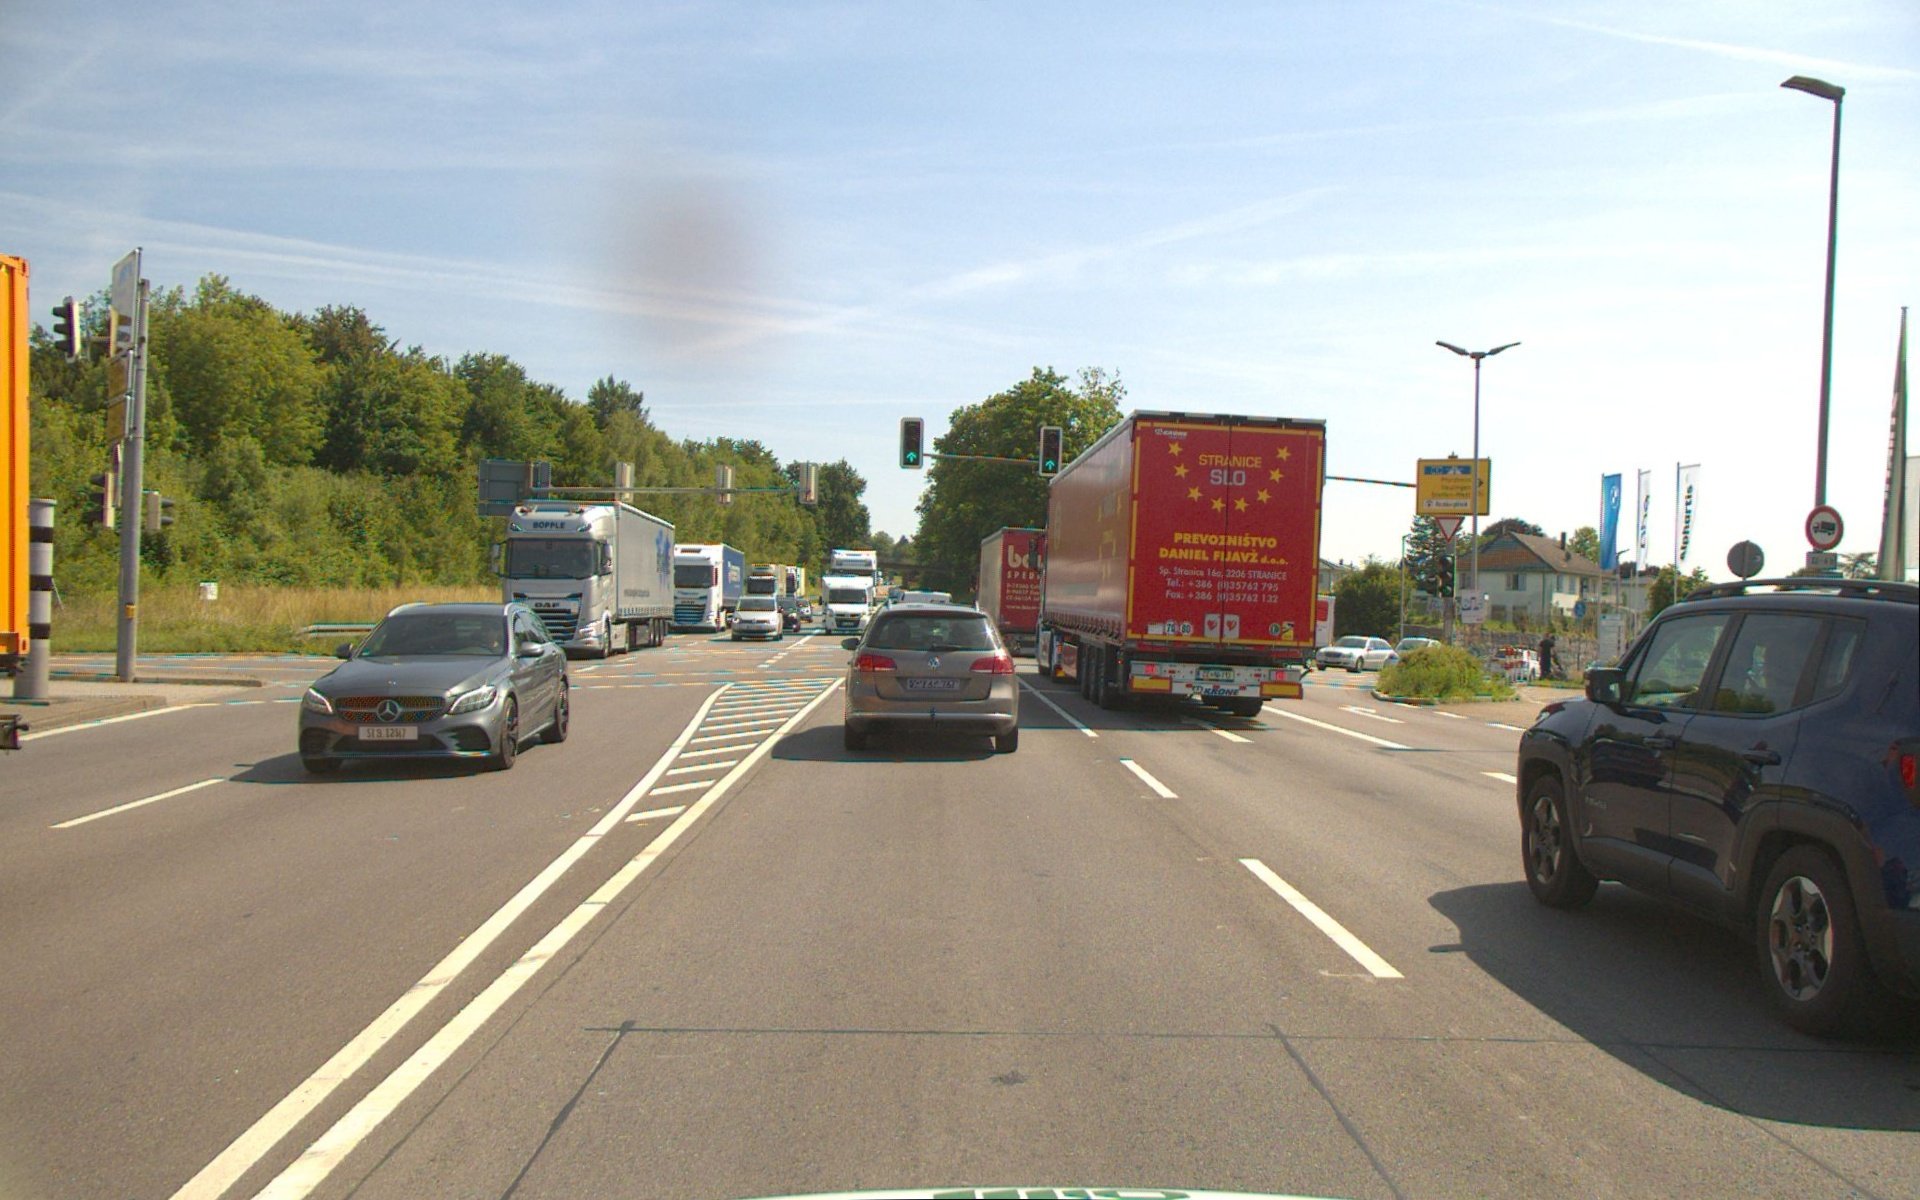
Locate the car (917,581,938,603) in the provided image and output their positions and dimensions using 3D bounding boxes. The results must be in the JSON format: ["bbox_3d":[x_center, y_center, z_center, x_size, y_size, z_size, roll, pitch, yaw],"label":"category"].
[{"bbox_3d":[-3.162,-0.780,160.335,1.954,2.049,3.997,1,0,-3],"label":"car"}]

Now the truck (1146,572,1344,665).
[{"bbox_3d":[14.378,0.959,83.329,9.528,3.690,2.752,6,-2,-20],"label":"truck"}]

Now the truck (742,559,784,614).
[{"bbox_3d":[-15.384,-1.012,129.525,2.675,4.069,9.613,1,0,-3],"label":"truck"}]

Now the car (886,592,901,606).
[{"bbox_3d":[-9.519,-0.140,236.427,1.954,2.049,3.997,1,0,-3],"label":"car"}]

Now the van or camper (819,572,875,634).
[{"bbox_3d":[-5.068,0.149,75.010,2.284,2.646,6.975,1,0,-2],"label":"van or camper"}]

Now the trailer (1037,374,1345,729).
[{"bbox_3d":[3.295,-0.618,27.872,2.782,4.441,13.162,3,0,-2],"label":"trailer"}]

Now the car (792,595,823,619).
[{"bbox_3d":[-9.724,0.436,105.864,1.690,1.528,3.999,1,0,-2],"label":"car"}]

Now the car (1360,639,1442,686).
[{"bbox_3d":[16.656,2.362,62.403,1.957,1.602,3.992,4,0,30],"label":"car"}]

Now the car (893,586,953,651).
[{"bbox_3d":[-1.202,0.559,52.507,1.735,1.970,3.975,1,0,-4],"label":"car"}]

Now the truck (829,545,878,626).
[{"bbox_3d":[-5.701,-0.728,88.528,2.487,4.159,6.260,1,0,-4],"label":"truck"}]

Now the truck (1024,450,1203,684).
[{"bbox_3d":[3.063,-0.619,34.625,2.813,4.355,5.836,3,0,-2],"label":"truck"}]

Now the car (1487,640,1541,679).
[{"bbox_3d":[25.017,2.686,74.621,1.741,1.602,3.703,4,0,27],"label":"car"}]

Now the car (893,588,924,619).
[{"bbox_3d":[-3.513,0.227,112.148,1.954,2.049,3.997,1,0,-3],"label":"car"}]

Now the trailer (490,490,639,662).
[{"bbox_3d":[-10.258,-0.584,43.461,2.592,4.177,6.178,1,0,-2],"label":"trailer"}]

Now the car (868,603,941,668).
[{"bbox_3d":[-1.448,0.856,41.888,1.735,1.539,3.997,1,0,-4],"label":"car"}]

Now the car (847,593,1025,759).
[{"bbox_3d":[-0.341,0.714,17.486,1.658,1.539,3.997,1,0,-4],"label":"car"}]

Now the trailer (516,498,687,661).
[{"bbox_3d":[-10.520,-0.527,50.188,2.637,4.220,13.873,1,0,-2],"label":"trailer"}]

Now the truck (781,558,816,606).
[{"bbox_3d":[-14.519,-1.558,149.492,2.774,4.188,9.674,1,0,-4],"label":"truck"}]

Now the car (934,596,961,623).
[{"bbox_3d":[-1.011,0.752,130.944,1.954,2.049,3.997,1,0,-3],"label":"car"}]

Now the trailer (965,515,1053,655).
[{"bbox_3d":[1.549,-0.452,57.706,2.347,4.317,13.074,1,0,-1],"label":"trailer"}]

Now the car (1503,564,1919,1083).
[{"bbox_3d":[3.952,0.737,7.289,1.734,1.683,3.999,1,0,-1],"label":"car"}]

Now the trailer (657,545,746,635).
[{"bbox_3d":[-12.881,-0.464,83.668,3.032,4.151,14.117,1,0,-3],"label":"trailer"}]

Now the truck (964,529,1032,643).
[{"bbox_3d":[1.420,-0.515,64.451,2.357,4.200,5.519,1,0,-1],"label":"truck"}]

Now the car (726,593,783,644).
[{"bbox_3d":[-7.779,0.672,63.052,1.806,1.763,4.585,2,0,-4],"label":"car"}]

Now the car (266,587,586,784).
[{"bbox_3d":[-5.026,0.699,16.272,1.883,1.630,4.585,-1,1,-4],"label":"car"}]

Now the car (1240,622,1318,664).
[{"bbox_3d":[13.411,1.811,69.377,1.678,1.530,3.739,3,-2,37],"label":"car"}]

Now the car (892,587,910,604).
[{"bbox_3d":[-7.057,-0.518,197.154,1.954,2.049,3.997,1,0,-3],"label":"car"}]

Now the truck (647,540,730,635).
[{"bbox_3d":[-12.479,-0.549,76.594,3.124,4.151,6.341,1,0,-4],"label":"truck"}]

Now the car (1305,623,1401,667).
[{"bbox_3d":[16.143,1.866,67.779,1.962,1.531,4.977,3,-2,37],"label":"car"}]

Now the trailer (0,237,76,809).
[{"bbox_3d":[-7.734,-0.560,6.693,2.667,4.068,12.221,1,0,-5],"label":"trailer"}]

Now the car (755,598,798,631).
[{"bbox_3d":[-8.772,0.696,79.342,1.955,1.511,4.448,1,0,-6],"label":"car"}]
